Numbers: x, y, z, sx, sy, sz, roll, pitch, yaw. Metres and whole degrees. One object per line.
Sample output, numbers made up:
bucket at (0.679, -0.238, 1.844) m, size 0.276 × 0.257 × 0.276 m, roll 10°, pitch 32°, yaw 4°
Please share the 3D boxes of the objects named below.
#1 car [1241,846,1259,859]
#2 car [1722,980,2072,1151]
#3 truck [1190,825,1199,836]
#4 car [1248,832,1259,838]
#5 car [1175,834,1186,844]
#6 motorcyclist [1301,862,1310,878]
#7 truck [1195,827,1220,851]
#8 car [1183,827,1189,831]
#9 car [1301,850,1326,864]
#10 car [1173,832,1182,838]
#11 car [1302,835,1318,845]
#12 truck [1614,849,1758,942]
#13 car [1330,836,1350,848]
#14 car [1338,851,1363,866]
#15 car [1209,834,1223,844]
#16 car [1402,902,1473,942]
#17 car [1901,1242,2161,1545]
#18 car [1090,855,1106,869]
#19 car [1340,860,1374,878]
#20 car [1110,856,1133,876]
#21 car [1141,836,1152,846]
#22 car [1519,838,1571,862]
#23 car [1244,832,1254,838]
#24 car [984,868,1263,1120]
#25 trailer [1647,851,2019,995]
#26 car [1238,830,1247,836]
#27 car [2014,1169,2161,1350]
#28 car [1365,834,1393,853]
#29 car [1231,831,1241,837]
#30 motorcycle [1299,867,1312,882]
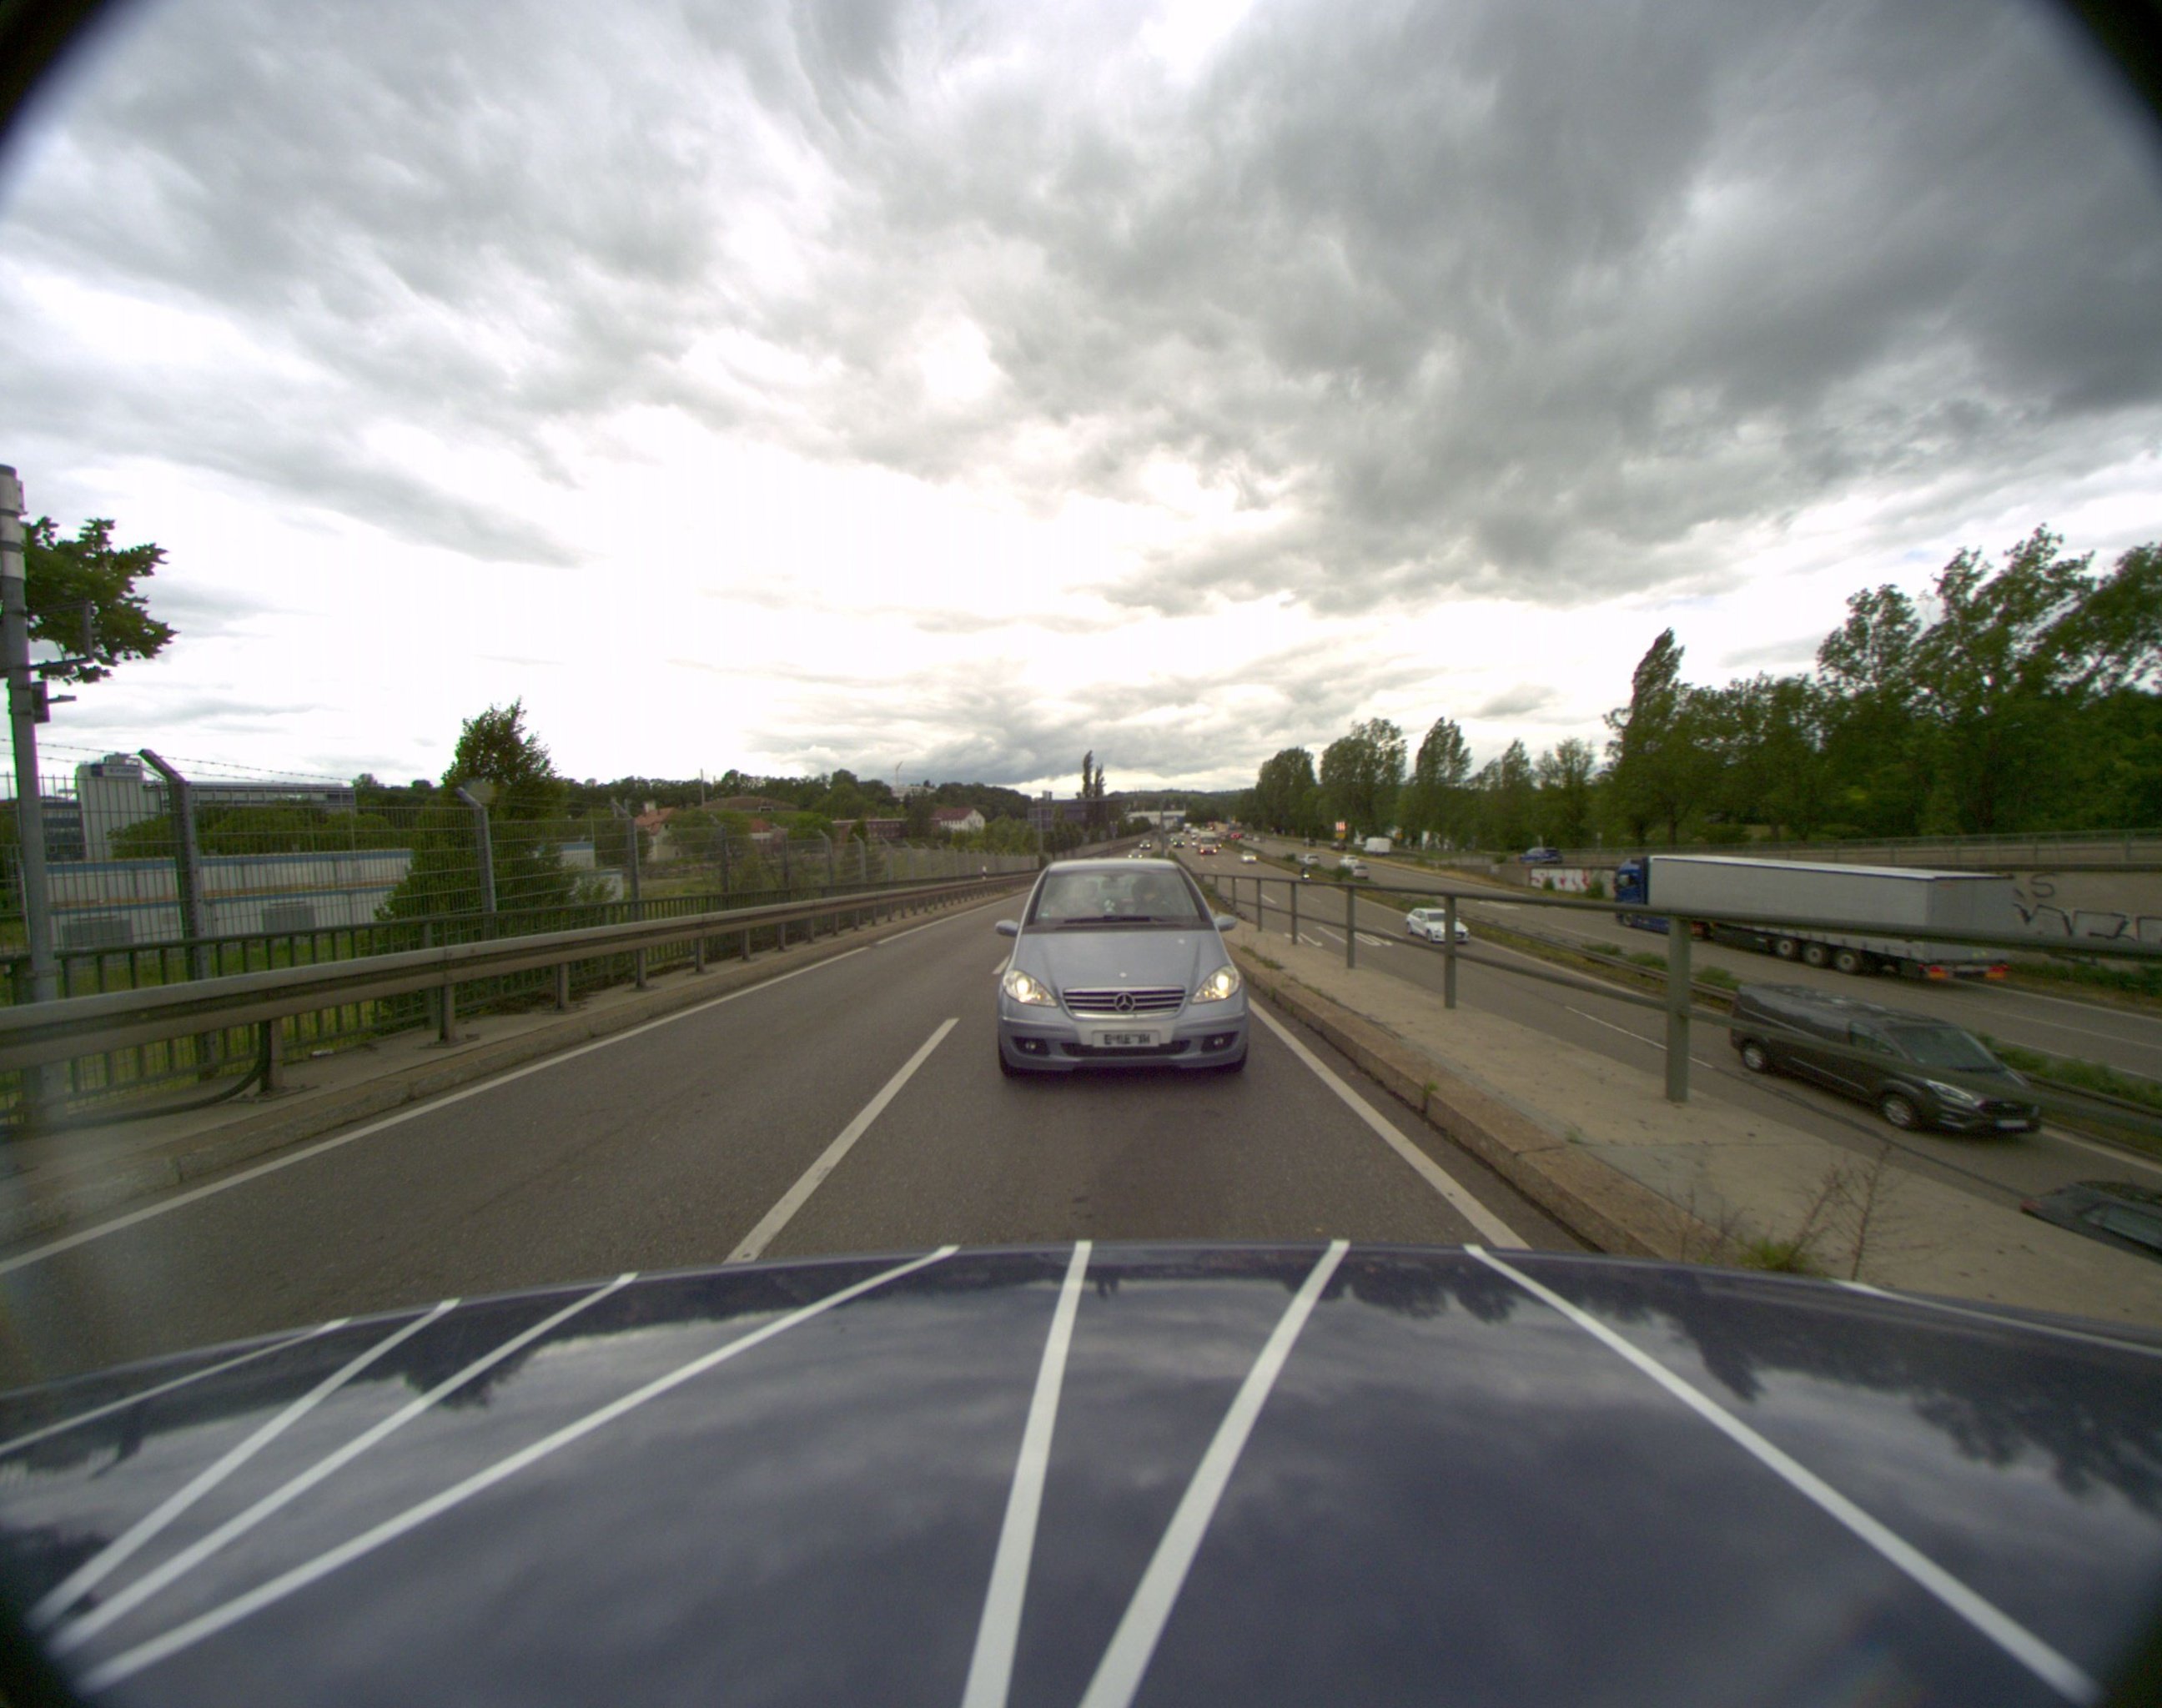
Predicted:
car at (21.920, -0.170, 98.660) m, size 1.696 × 1.524 × 3.607 m, roll -1°, pitch 3°, yaw 2°
car at (17.099, 4.308, 16.493) m, size 1.998 × 2.003 × 5.252 m, roll -1°, pitch 3°, yaw 2°
truck at (31.887, -6.654, 213.041) m, size 2.238 × 2.993 × 7.231 m, roll -1°, pitch 3°, yaw 6°
car at (41.396, -4.514, 182.091) m, size 1.998 × 1.412 × 3.999 m, roll -1°, pitch 3°, yaw 4°
car at (19.431, -2.968, 148.802) m, size 1.997 × 1.830 × 4.425 m, roll 0°, pitch 3°, yaw 7°
motorcyclist at (19.932, 1.441, 67.515) m, size 0.595 × 1.364 × 0.761 m, roll -2°, pitch 3°, yaw 2°
truck at (20.427, -2.481, 123.145) m, size 2.888 × 3.506 × 9.870 m, roll 1°, pitch 3°, yaw 4°
car at (34.701, -8.280, 250.826) m, size 1.769 × 1.520 × 3.334 m, roll 0°, pitch 3°, yaw 1°
car at (27.693, 0.366, 90.635) m, size 1.998 × 1.412 × 3.999 m, roll 2°, pitch 3°, yaw 4°
car at (23.749, -4.723, 187.224) m, size 1.828 × 1.443 × 4.125 m, roll 0°, pitch 3°, yaw 1°
car at (45.305, -2.838, 150.397) m, size 1.886 × 1.807 × 4.560 m, roll 2°, pitch 3°, yaw 2°
truck at (30.966, 1.967, 39.274) m, size 2.793 × 4.117 × 5.933 m, roll -1°, pitch 3°, yaw 3°
car at (44.770, -2.085, 131.336) m, size 1.886 × 1.807 × 4.560 m, roll 2°, pitch 3°, yaw 2°
car at (30.950, 0.481, 87.342) m, size 1.682 × 1.412 × 3.999 m, roll 0°, pitch 3°, yaw 4°
car at (25.309, -2.869, 142.527) m, size 1.834 × 1.570 × 4.181 m, roll -2°, pitch 4°, yaw 2°
car at (17.911, 3.373, 38.393) m, size 1.622 × 1.414 × 4.414 m, roll -1°, pitch 3°, yaw 2°
car at (10.146, 5.212, 6.704) m, size 1.656 × 1.465 × 3.833 m, roll -1°, pitch 3°, yaw 1°
car at (1.881, 0.861, 83.913) m, size 1.588 × 1.423 × 3.443 m, roll -2°, pitch 1°, yaw 5°
car at (26.490, 1.427, 72.957) m, size 1.998 × 1.412 × 3.999 m, roll 2°, pitch 3°, yaw 4°
car at (3.712, 1.131, 70.285) m, size 1.830 × 1.701 × 4.001 m, roll -2°, pitch -1°, yaw 1°
car at (12.503, -2.452, 144.254) m, size 1.799 × 1.643 × 4.153 m, roll -2°, pitch -1°, yaw 8°
car at (41.131, -0.414, 67.476) m, size 1.998 × 1.890 × 4.583 m, roll 2°, pitch 3°, yaw 5°
car at (44.002, -5.025, 199.417) m, size 1.998 × 1.412 × 3.999 m, roll -1°, pitch 3°, yaw 4°
car at (0.299, 0.921, 6.782) m, size 1.743 × 1.534 × 3.993 m, roll -1°, pitch 0°, yaw 1°
trailer at (30.665, 2.338, 32.722) m, size 2.793 × 4.117 × 13.758 m, roll -1°, pitch 3°, yaw 3°
car at (47.176, -6.181, 221.977) m, size 1.998 × 1.412 × 3.999 m, roll -1°, pitch 3°, yaw 4°
car at (13.385, 5.050, 8.300) m, size 1.656 × 1.465 × 3.833 m, roll -1°, pitch 3°, yaw 1°
car at (43.371, -1.568, 110.769) m, size 1.998 × 2.635 × 5.179 m, roll 2°, pitch 3°, yaw 2°
car at (41.429, -5.357, 203.223) m, size 1.998 × 1.412 × 3.999 m, roll -1°, pitch 3°, yaw 4°
motorcycle at (19.940, 1.785, 67.434) m, size 0.595 × 1.197 × 2.125 m, roll -2°, pitch 3°, yaw 2°
